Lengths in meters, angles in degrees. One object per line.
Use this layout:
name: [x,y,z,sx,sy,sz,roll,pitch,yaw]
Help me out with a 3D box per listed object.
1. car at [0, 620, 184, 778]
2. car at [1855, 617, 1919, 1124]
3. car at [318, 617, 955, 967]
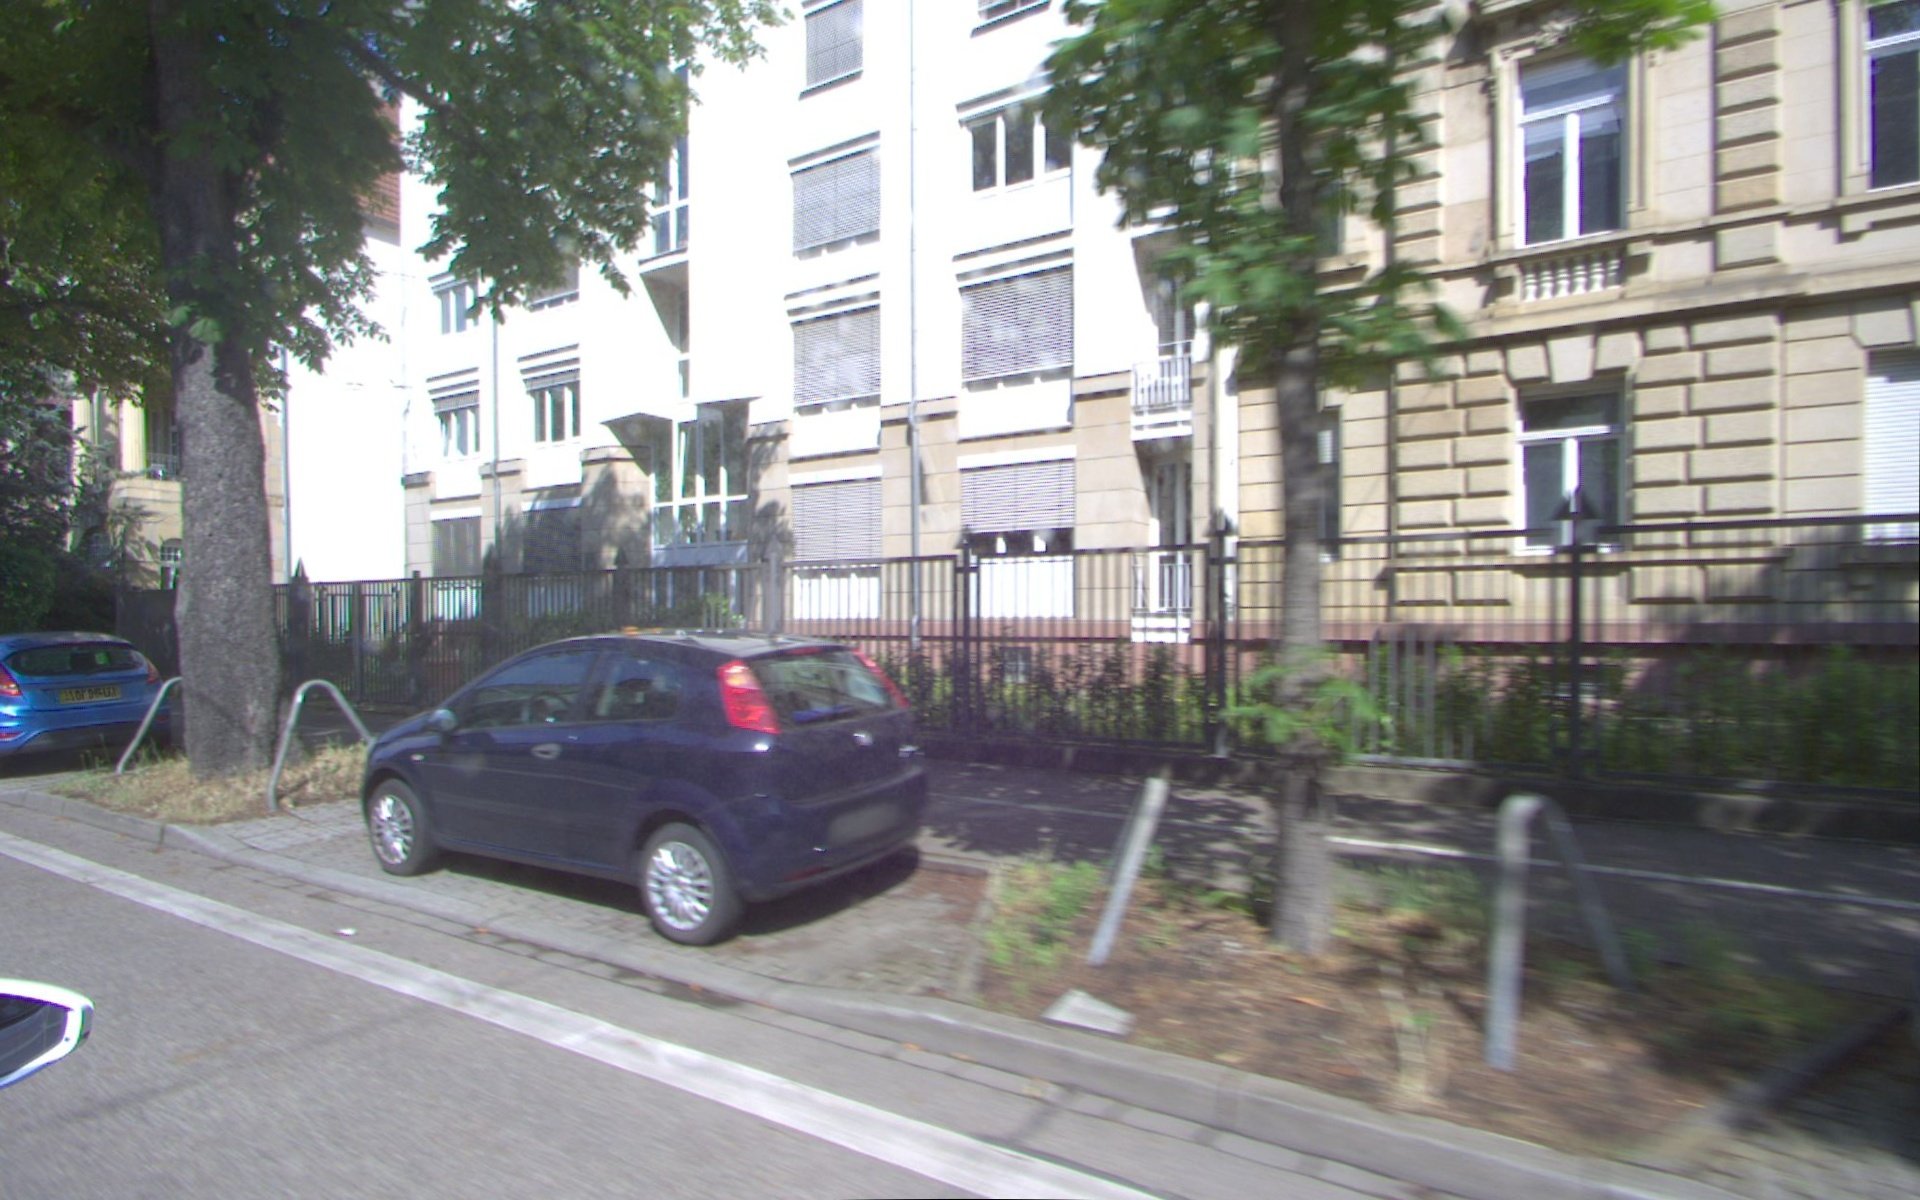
car: [-10.799,1.022,11.602,3.792,1.516,1.620,-1,2,32]
car: [4.381,0.816,2.009,3.573,1.516,1.637,-1,1,31]
car: [-2.041,0.889,6.113,3.701,1.516,1.637,-1,1,30]
